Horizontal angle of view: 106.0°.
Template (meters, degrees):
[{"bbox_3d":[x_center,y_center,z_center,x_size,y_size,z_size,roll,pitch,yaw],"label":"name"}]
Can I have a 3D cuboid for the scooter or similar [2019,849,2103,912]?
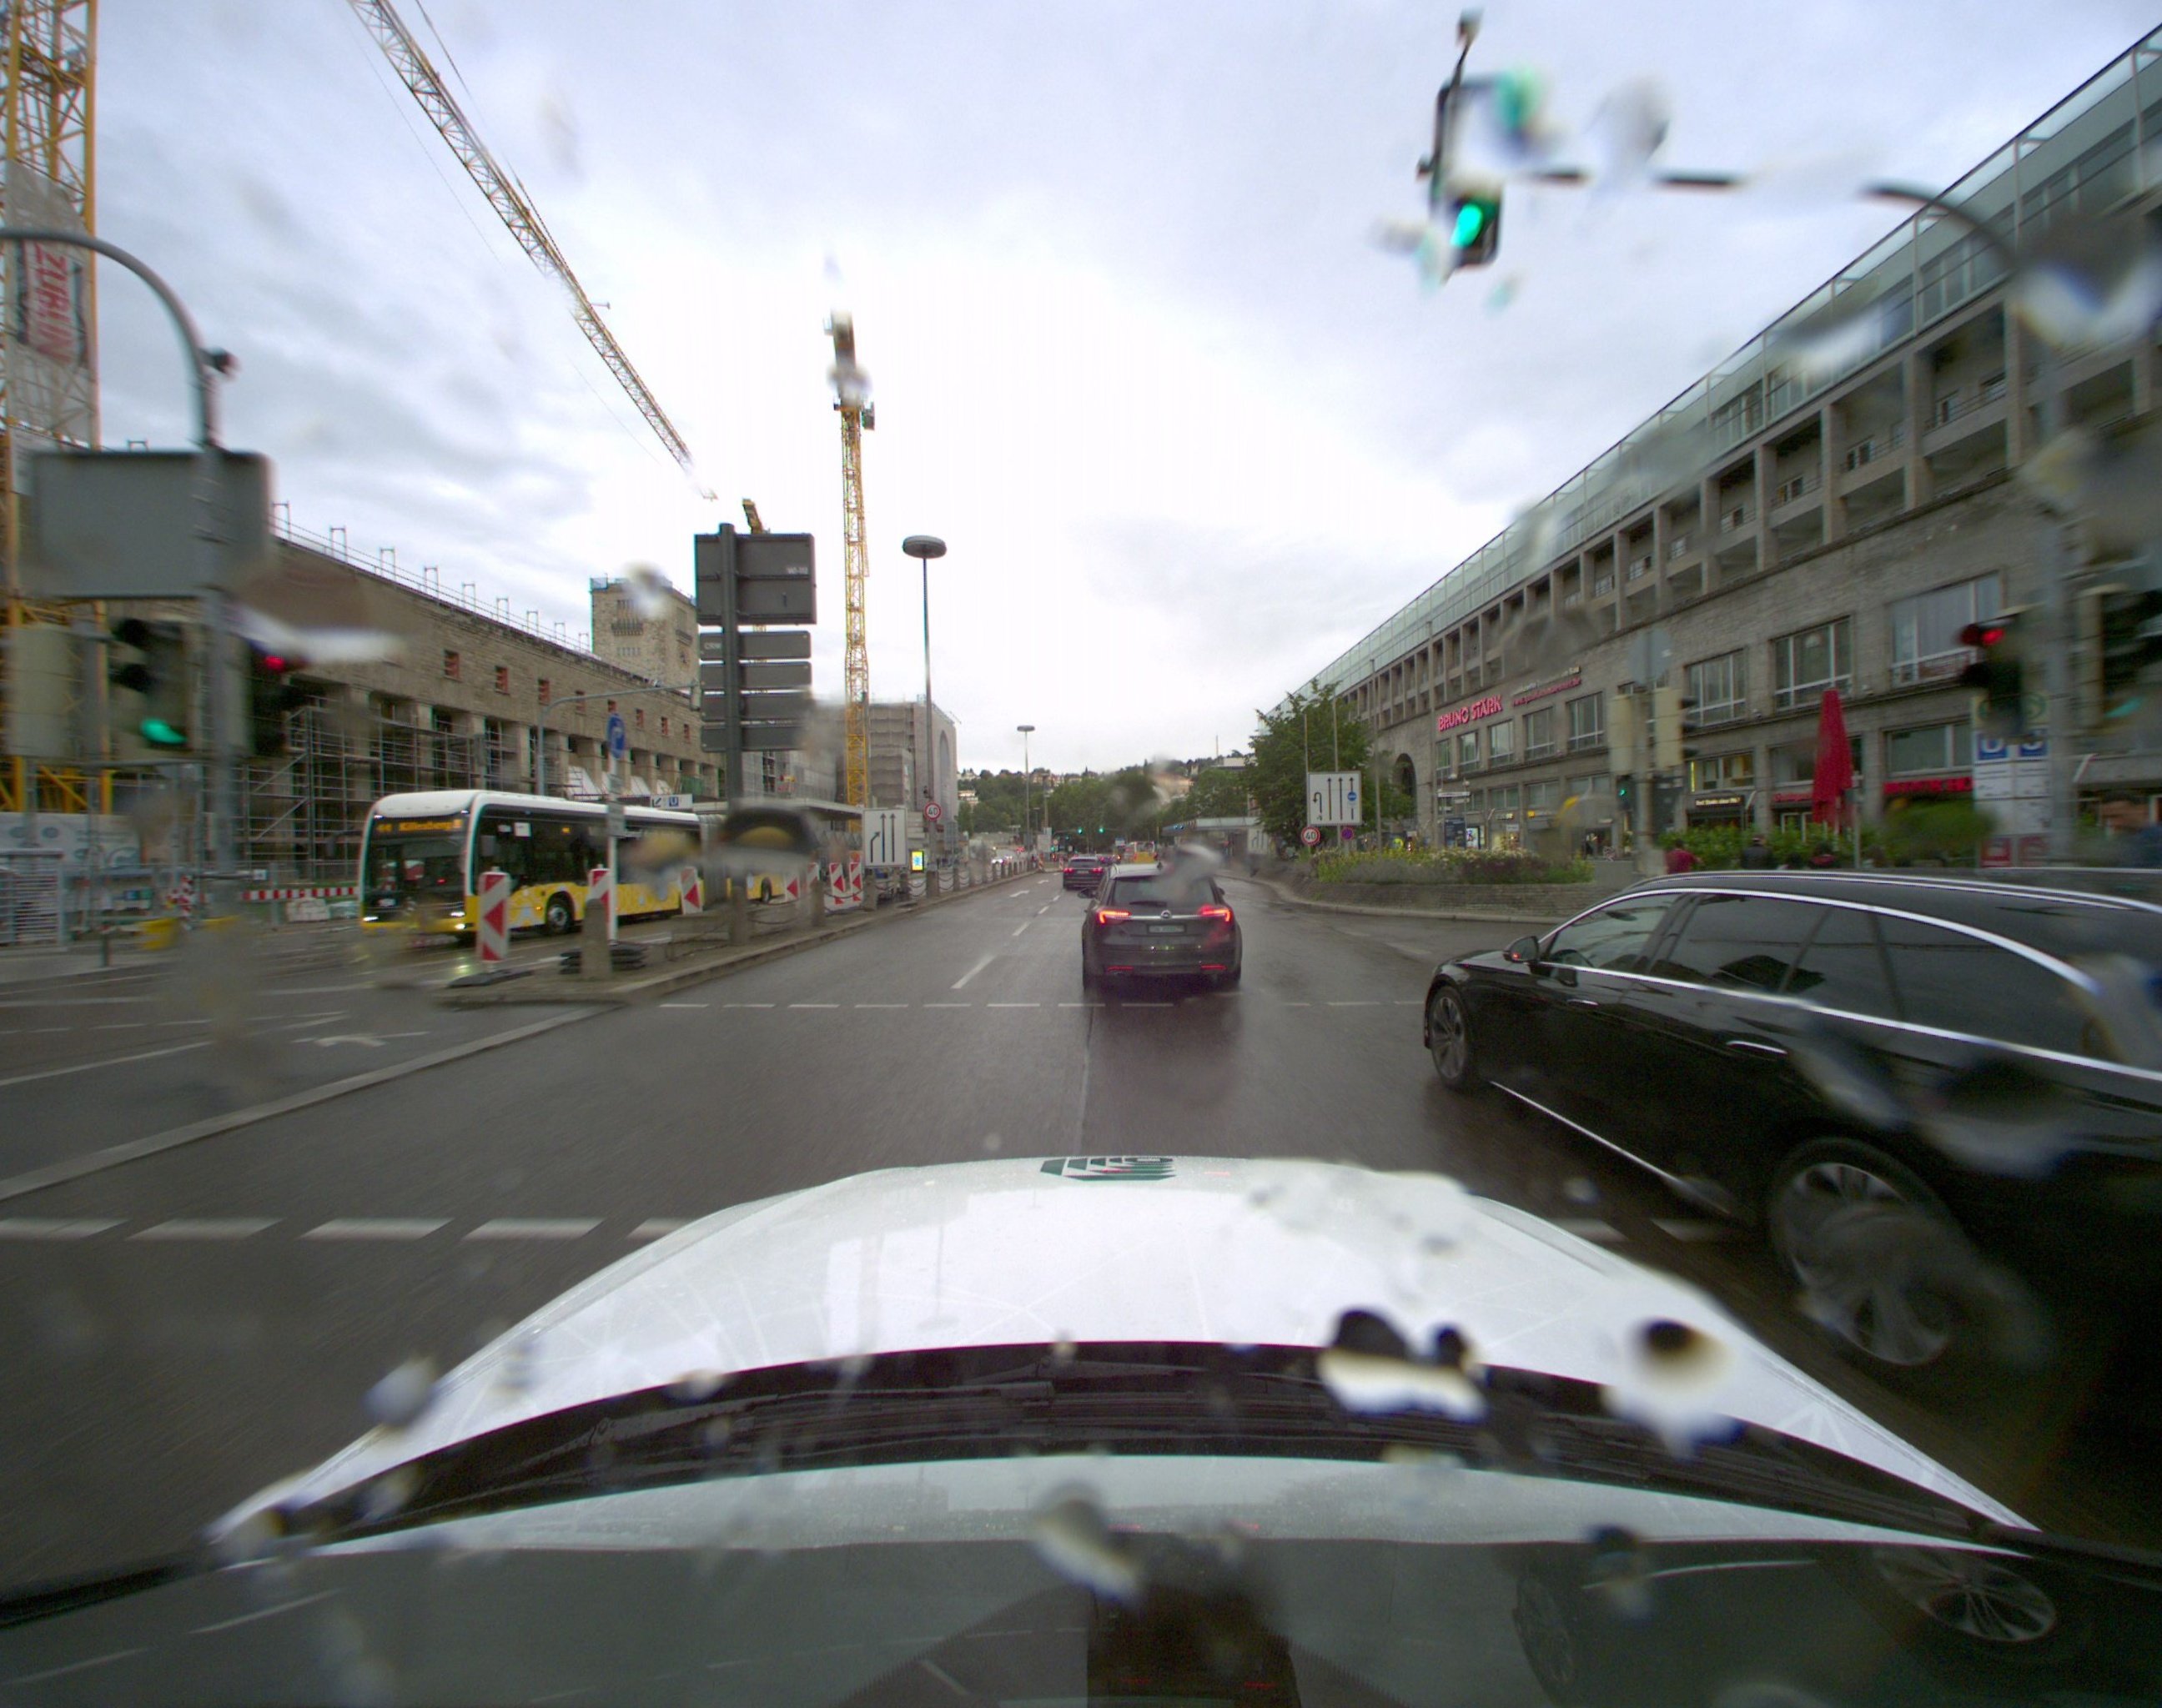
[{"bbox_3d":[19.197,0.506,15.969,0.290,1.189,1.014,0,-1,-16],"label":"scooter or similar"}]

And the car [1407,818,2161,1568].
[{"bbox_3d":[3.174,0.710,3.674,1.786,1.502,4.632,0,-1,3],"label":"car"}]

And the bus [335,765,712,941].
[{"bbox_3d":[-13.795,0.051,21.882,2.658,3.602,10.244,0,-1,3],"label":"bus"}]

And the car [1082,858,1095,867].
[{"bbox_3d":[1.194,1.337,123.976,1.838,1.398,3.566,0,-1,2],"label":"car"}]

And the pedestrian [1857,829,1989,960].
[{"bbox_3d":[11.935,0.559,11.568,1.093,1.751,0.653,-3,-1,-1],"label":"pedestrian"}]

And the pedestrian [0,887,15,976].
[{"bbox_3d":[-19.400,1.373,14.163,0.790,1.561,0.865,1,-1,-36],"label":"pedestrian"}]

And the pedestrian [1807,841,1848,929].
[{"bbox_3d":[13.144,0.543,14.342,0.460,1.517,0.453,-1,-1,36],"label":"pedestrian"}]

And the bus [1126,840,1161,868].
[{"bbox_3d":[8.070,0.064,107.939,4.157,3.469,14.661,0,-1,2],"label":"bus"}]

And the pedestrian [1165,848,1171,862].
[{"bbox_3d":[10.414,0.147,97.550,0.655,1.690,0.609,0,-1,3],"label":"pedestrian"}]

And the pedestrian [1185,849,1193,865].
[{"bbox_3d":[11.180,0.309,84.349,0.761,1.690,0.824,0,-1,-2],"label":"pedestrian"}]

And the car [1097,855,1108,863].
[{"bbox_3d":[3.867,0.905,147.342,1.838,1.398,3.566,0,0,2],"label":"car"}]

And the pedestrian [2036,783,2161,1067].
[{"bbox_3d":[6.825,0.441,5.274,0.507,1.756,0.770,1,-2,-44],"label":"pedestrian"}]

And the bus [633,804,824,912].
[{"bbox_3d":[-13.346,0.204,32.189,2.658,3.602,10.217,0,-1,3],"label":"bus"}]

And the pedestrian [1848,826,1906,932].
[{"bbox_3d":[13.618,0.419,13.943,0.477,1.751,0.670,-4,-1,30],"label":"pedestrian"}]

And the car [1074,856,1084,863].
[{"bbox_3d":[-0.360,1.122,164.682,1.752,1.398,3.566,0,-1,2],"label":"car"}]

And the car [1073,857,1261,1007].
[{"bbox_3d":[0.924,0.803,10.102,1.867,1.486,4.001,0,-1,2],"label":"car"}]

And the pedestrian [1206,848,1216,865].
[{"bbox_3d":[12.936,0.262,81.097,0.761,1.690,0.824,0,-1,-2],"label":"pedestrian"}]

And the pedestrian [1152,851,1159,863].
[{"bbox_3d":[13.010,0.582,142.729,1.193,2.149,1.229,0,-1,3],"label":"pedestrian"}]

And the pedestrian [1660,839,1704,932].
[{"bbox_3d":[11.559,0.594,15.668,0.563,1.752,0.684,-1,-2,45],"label":"pedestrian"}]

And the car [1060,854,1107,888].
[{"bbox_3d":[0.172,0.788,37.765,1.847,1.469,4.592,0,-1,4],"label":"car"}]

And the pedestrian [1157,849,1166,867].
[{"bbox_3d":[11.215,0.582,113.764,1.193,2.435,1.229,0,-1,3],"label":"pedestrian"}]

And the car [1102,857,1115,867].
[{"bbox_3d":[3.952,1.214,118.610,1.747,1.398,4.647,0,-1,0],"label":"car"}]

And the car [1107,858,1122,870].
[{"bbox_3d":[4.117,1.261,99.359,1.838,1.398,3.669,0,-1,2],"label":"car"}]

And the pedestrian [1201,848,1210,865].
[{"bbox_3d":[12.610,0.280,82.343,0.761,1.690,0.824,0,-1,-2],"label":"pedestrian"}]

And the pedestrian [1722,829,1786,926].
[{"bbox_3d":[12.133,0.424,14.694,0.753,1.718,0.466,0,-1,-2],"label":"pedestrian"}]
